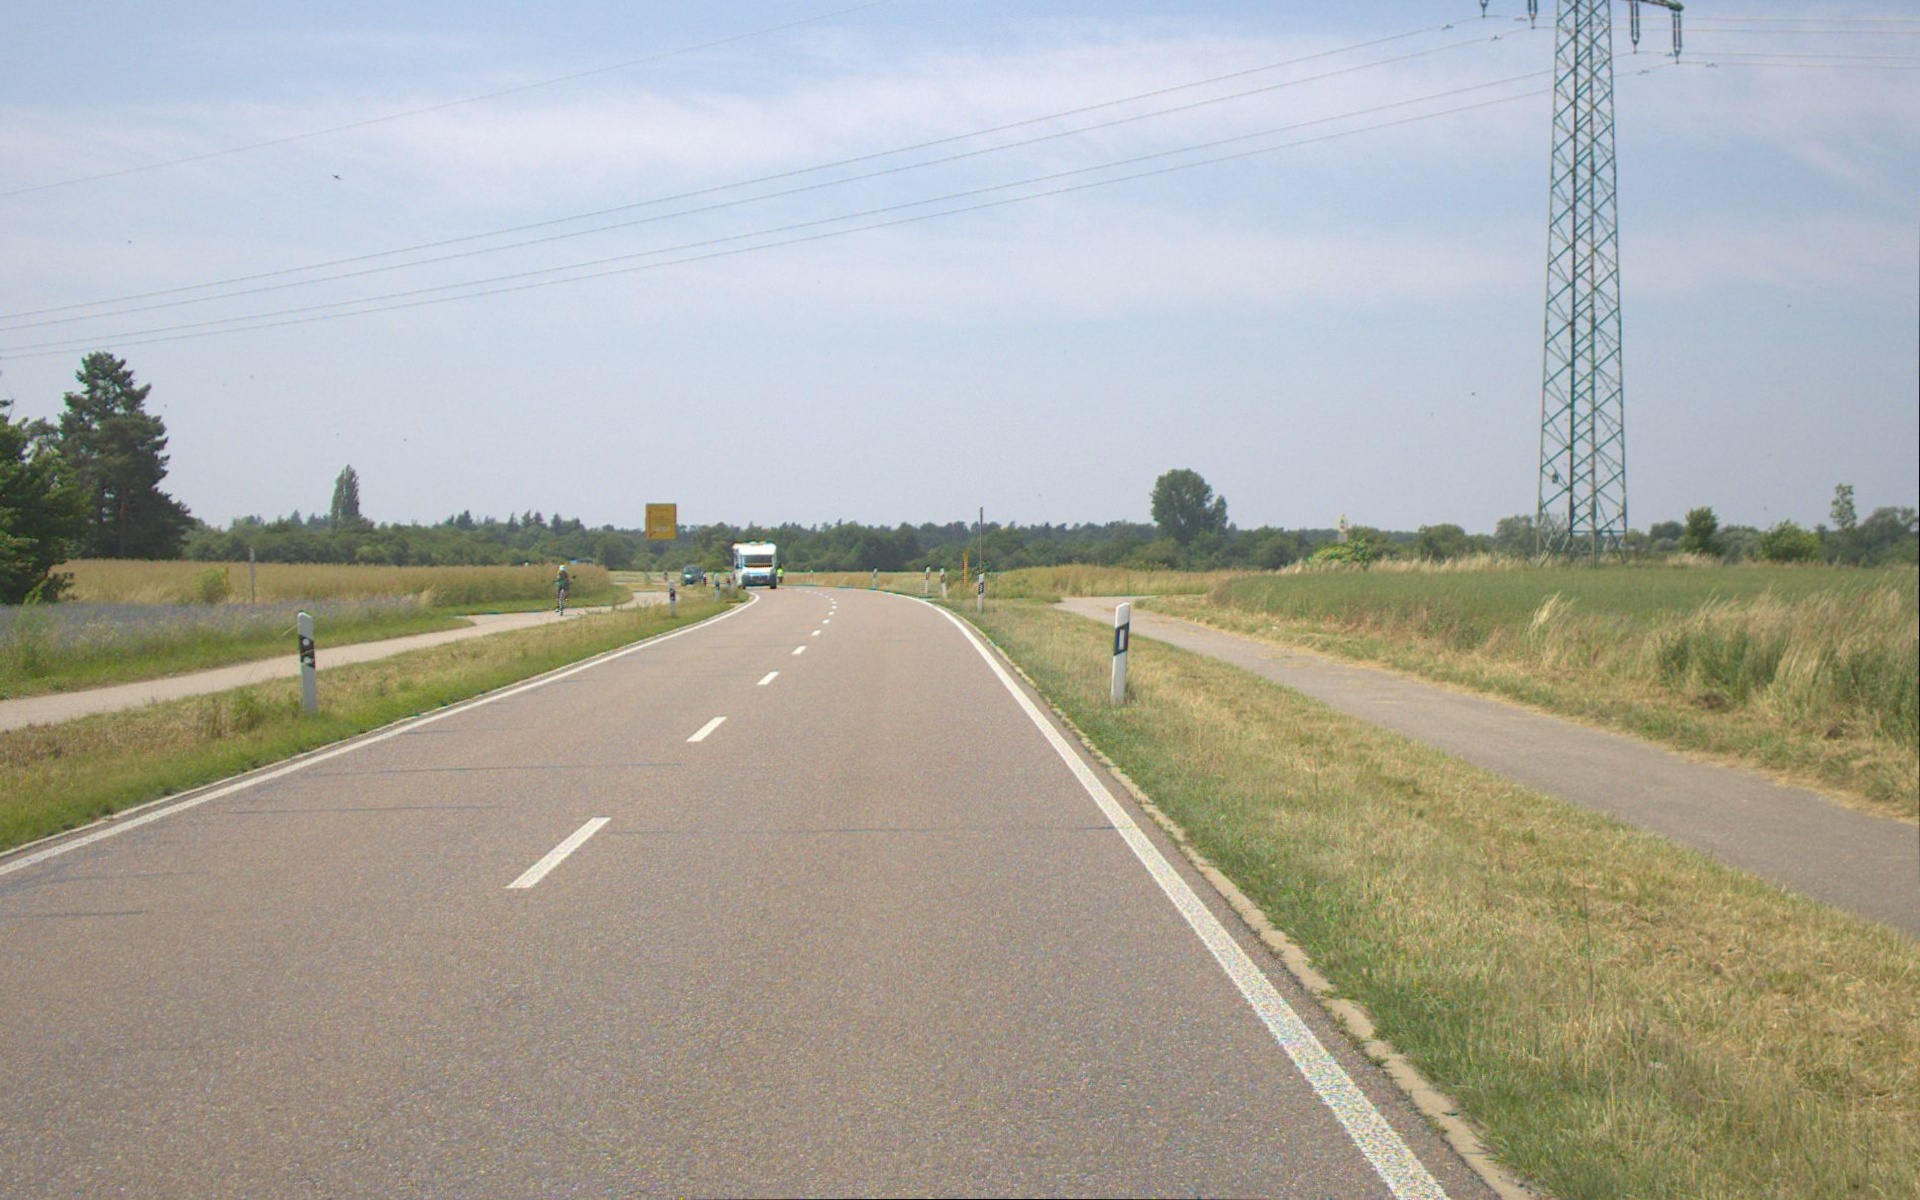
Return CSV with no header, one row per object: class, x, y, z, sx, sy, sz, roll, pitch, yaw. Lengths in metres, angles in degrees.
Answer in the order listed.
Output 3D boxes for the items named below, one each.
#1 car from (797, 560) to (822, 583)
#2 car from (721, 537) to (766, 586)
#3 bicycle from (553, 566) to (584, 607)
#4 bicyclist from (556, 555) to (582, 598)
car,-10.046,-1.881,229.223,1.623,1.486,4.001,0,1,-3
car,-12.906,-2.345,205.584,2.397,2.837,7.629,0,1,-1
bicycle,-12.102,-0.419,106.338,0.762,1.225,2.216,-1,1,-1
bicyclist,-12.107,-0.740,106.350,0.701,1.326,0.965,-1,1,-1
